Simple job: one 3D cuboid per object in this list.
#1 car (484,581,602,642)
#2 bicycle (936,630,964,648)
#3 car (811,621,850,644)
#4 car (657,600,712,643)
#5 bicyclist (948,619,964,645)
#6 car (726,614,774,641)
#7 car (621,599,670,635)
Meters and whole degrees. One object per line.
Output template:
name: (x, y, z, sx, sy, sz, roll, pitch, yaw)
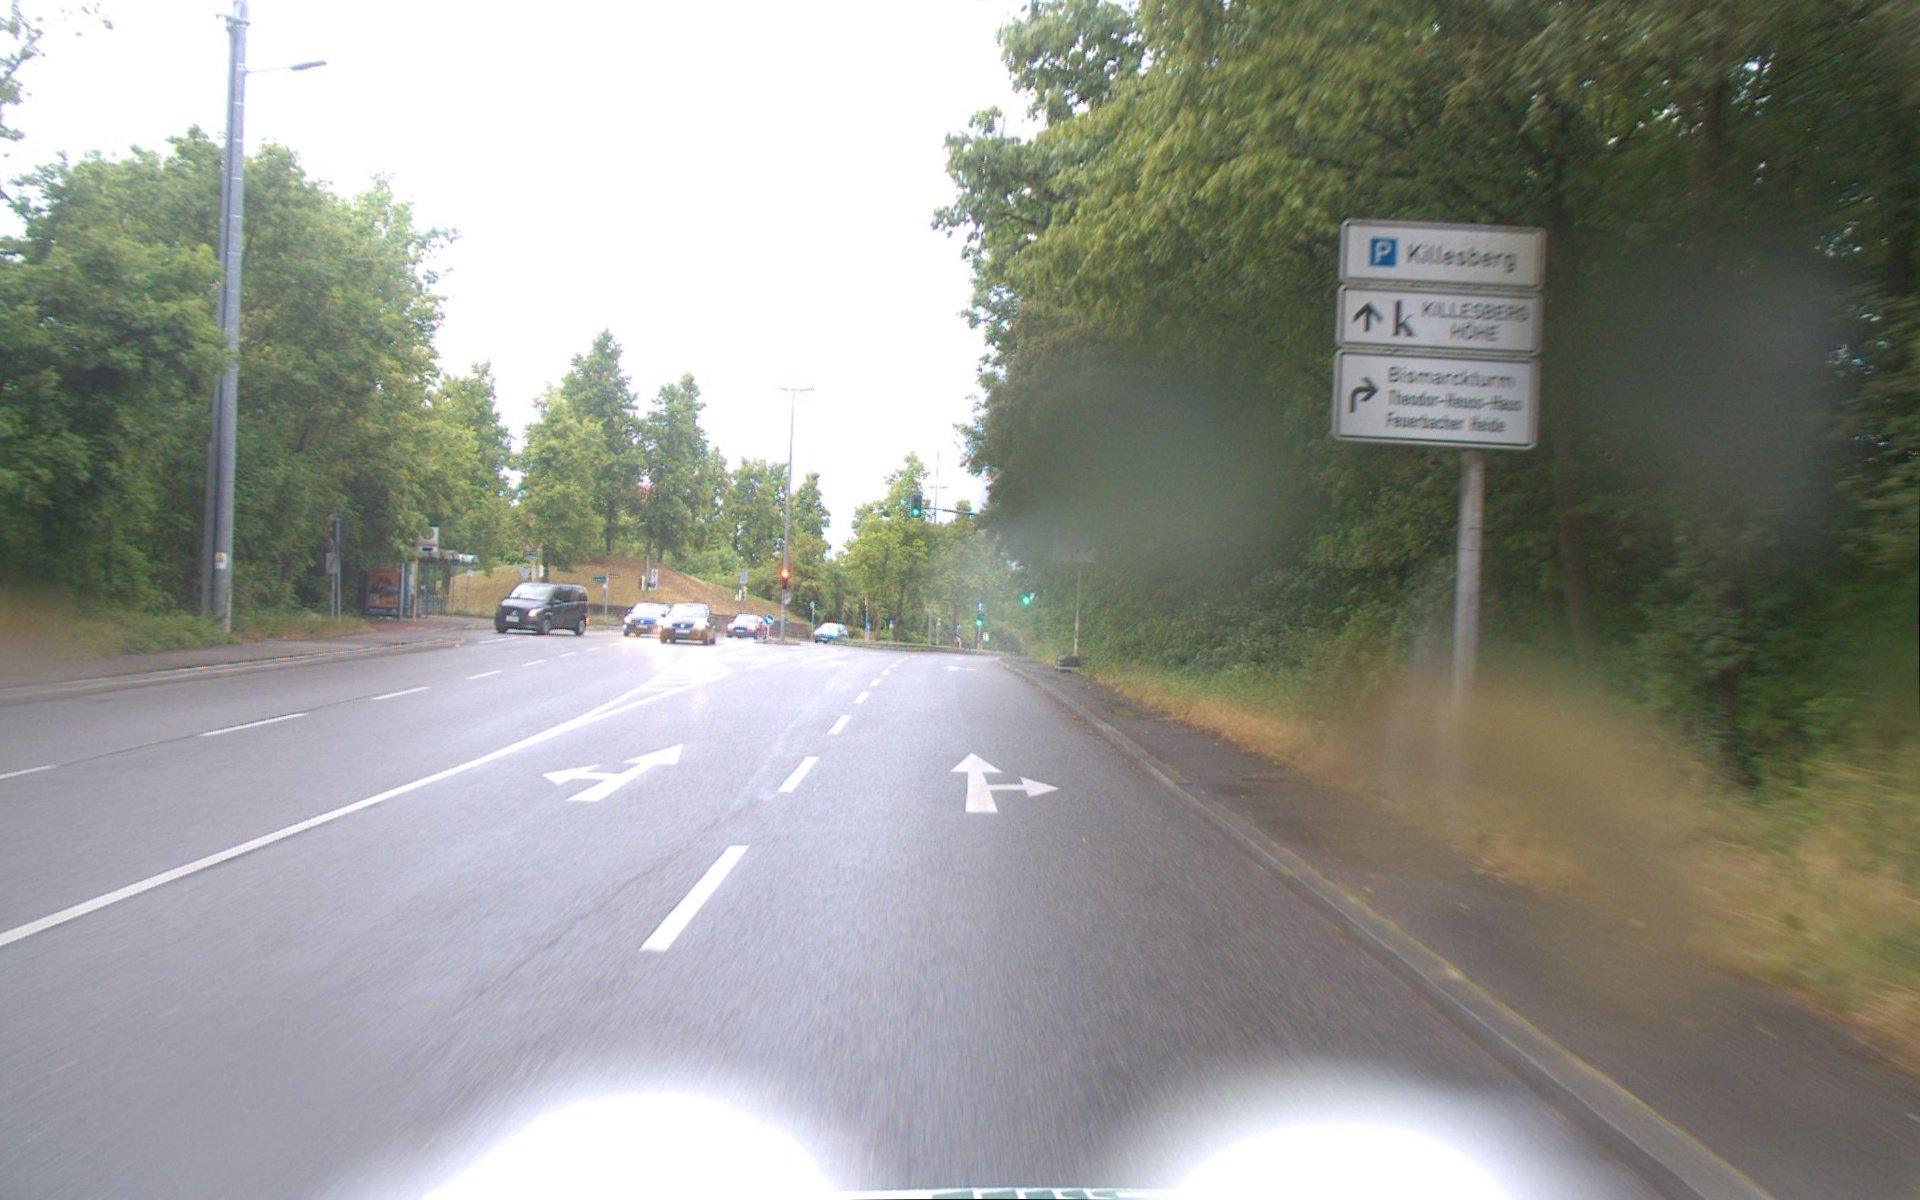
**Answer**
car: (-15.468, 0.473, 61.665, 2.058, 1.980, 5.163, 3, -2, 13)
bicycle: (-0.710, 2.745, 116.880, 2.122, 1.163, 0.545, 6, -3, -43)
car: (-9.093, 2.290, 116.318, 1.951, 1.517, 3.939, 1, -1, 7)
car: (-10.052, 0.762, 60.570, 1.668, 1.452, 4.073, 3, 0, -6)
bicyclist: (-0.273, 2.301, 117.314, 0.795, 1.783, 0.714, 7, -6, -43)
car: (-11.939, 1.532, 94.190, 1.836, 1.398, 4.386, 2, 0, 4)
car: (-13.271, 0.712, 69.973, 1.599, 1.419, 3.995, 2, 0, -5)
